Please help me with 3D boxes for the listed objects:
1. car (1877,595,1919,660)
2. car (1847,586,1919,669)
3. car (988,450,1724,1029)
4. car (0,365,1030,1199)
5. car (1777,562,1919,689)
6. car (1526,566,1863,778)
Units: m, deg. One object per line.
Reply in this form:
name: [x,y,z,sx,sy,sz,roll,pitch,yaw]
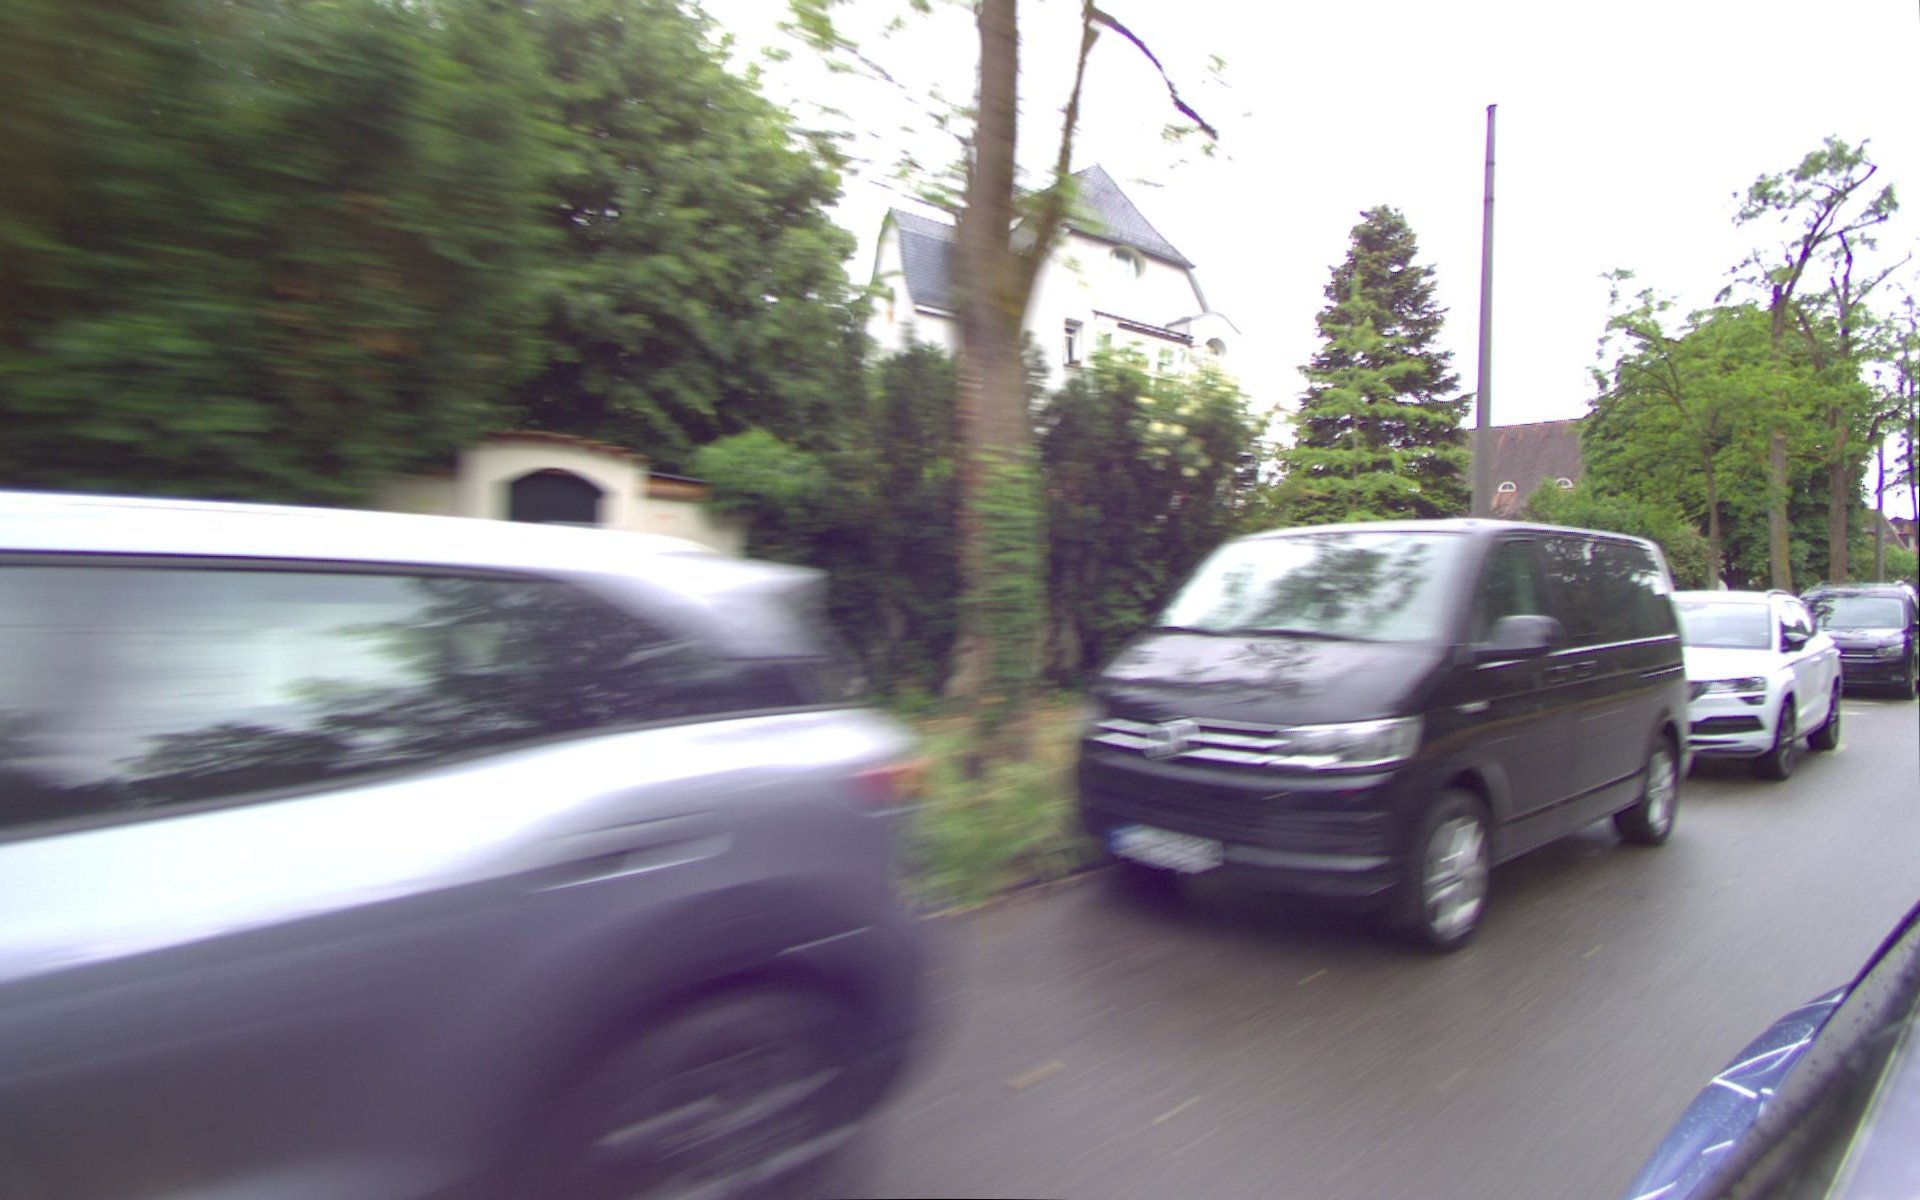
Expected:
car: [23.426,0.654,24.251,3.659,1.483,1.740,1,-1,-41]
car: [19.437,0.539,20.514,4.004,1.575,1.681,1,-1,-41]
car: [2.600,0.514,5.905,4.801,2.039,1.997,1,-1,-41]
car: [-2.015,0.583,1.680,4.250,1.745,1.777,1,-1,-41]
car: [15.143,0.397,16.828,4.156,1.871,1.733,1,-1,-41]
car: [7.301,0.579,9.896,4.211,1.633,1.807,1,-1,-42]
